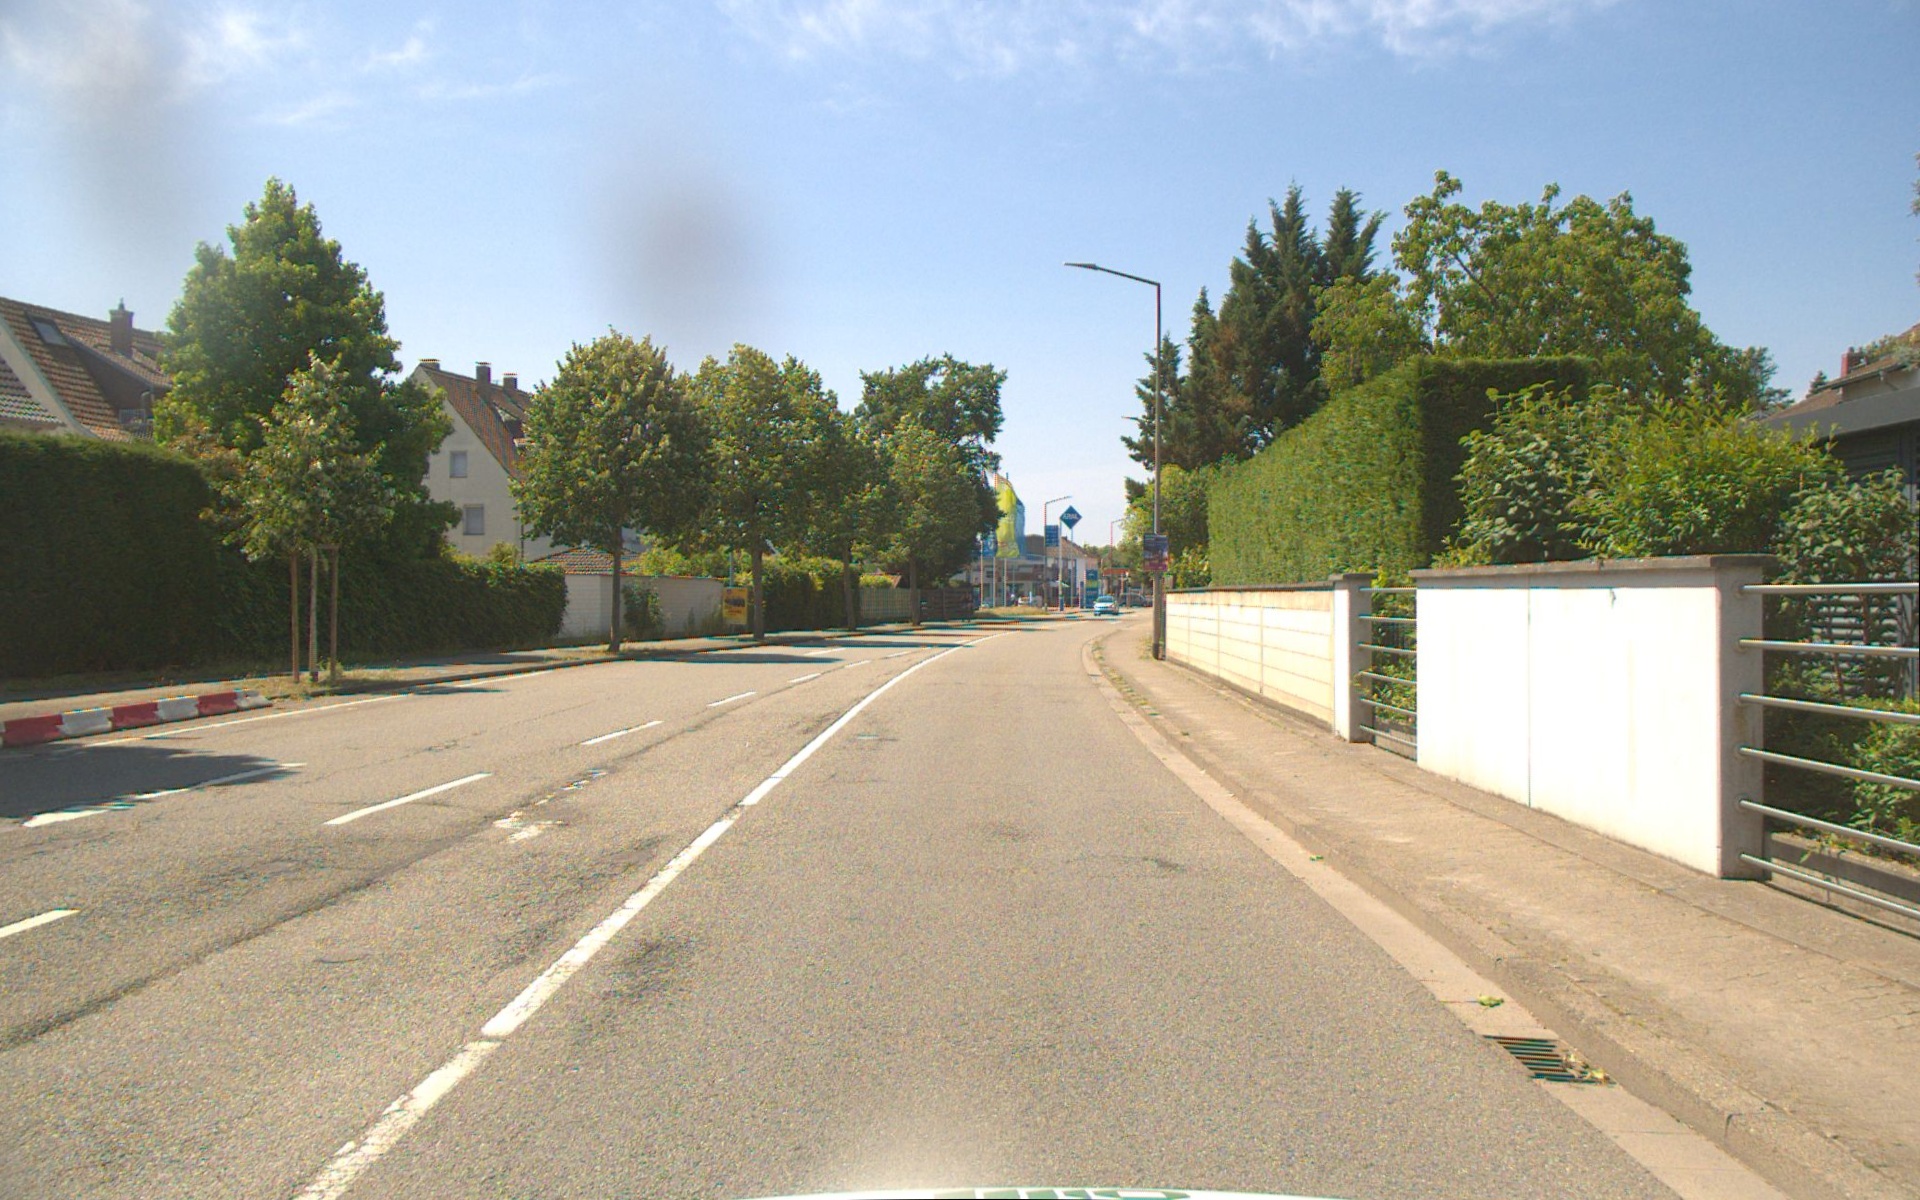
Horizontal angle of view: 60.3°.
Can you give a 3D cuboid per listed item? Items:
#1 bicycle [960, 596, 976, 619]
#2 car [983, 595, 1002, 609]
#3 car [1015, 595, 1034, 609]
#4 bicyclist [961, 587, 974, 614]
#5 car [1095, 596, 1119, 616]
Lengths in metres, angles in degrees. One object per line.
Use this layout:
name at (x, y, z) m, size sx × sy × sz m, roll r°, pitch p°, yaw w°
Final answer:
bicycle at (0.432, 0.392, 89.690) m, size 0.618 × 1.201 × 1.817 m, roll 0°, pitch 0°, yaw 9°
car at (3.524, 0.238, 179.316) m, size 1.582 × 1.445 × 3.715 m, roll -1°, pitch 0°, yaw 9°
car at (6.988, 0.196, 179.122) m, size 1.582 × 1.445 × 3.715 m, roll -1°, pitch 0°, yaw 9°
bicyclist at (0.417, 0.032, 89.621) m, size 0.615 × 1.433 × 0.677 m, roll 0°, pitch 0°, yaw 9°
car at (11.321, 0.478, 127.580) m, size 1.577 × 1.508 × 3.710 m, roll 1°, pitch 0°, yaw 9°
